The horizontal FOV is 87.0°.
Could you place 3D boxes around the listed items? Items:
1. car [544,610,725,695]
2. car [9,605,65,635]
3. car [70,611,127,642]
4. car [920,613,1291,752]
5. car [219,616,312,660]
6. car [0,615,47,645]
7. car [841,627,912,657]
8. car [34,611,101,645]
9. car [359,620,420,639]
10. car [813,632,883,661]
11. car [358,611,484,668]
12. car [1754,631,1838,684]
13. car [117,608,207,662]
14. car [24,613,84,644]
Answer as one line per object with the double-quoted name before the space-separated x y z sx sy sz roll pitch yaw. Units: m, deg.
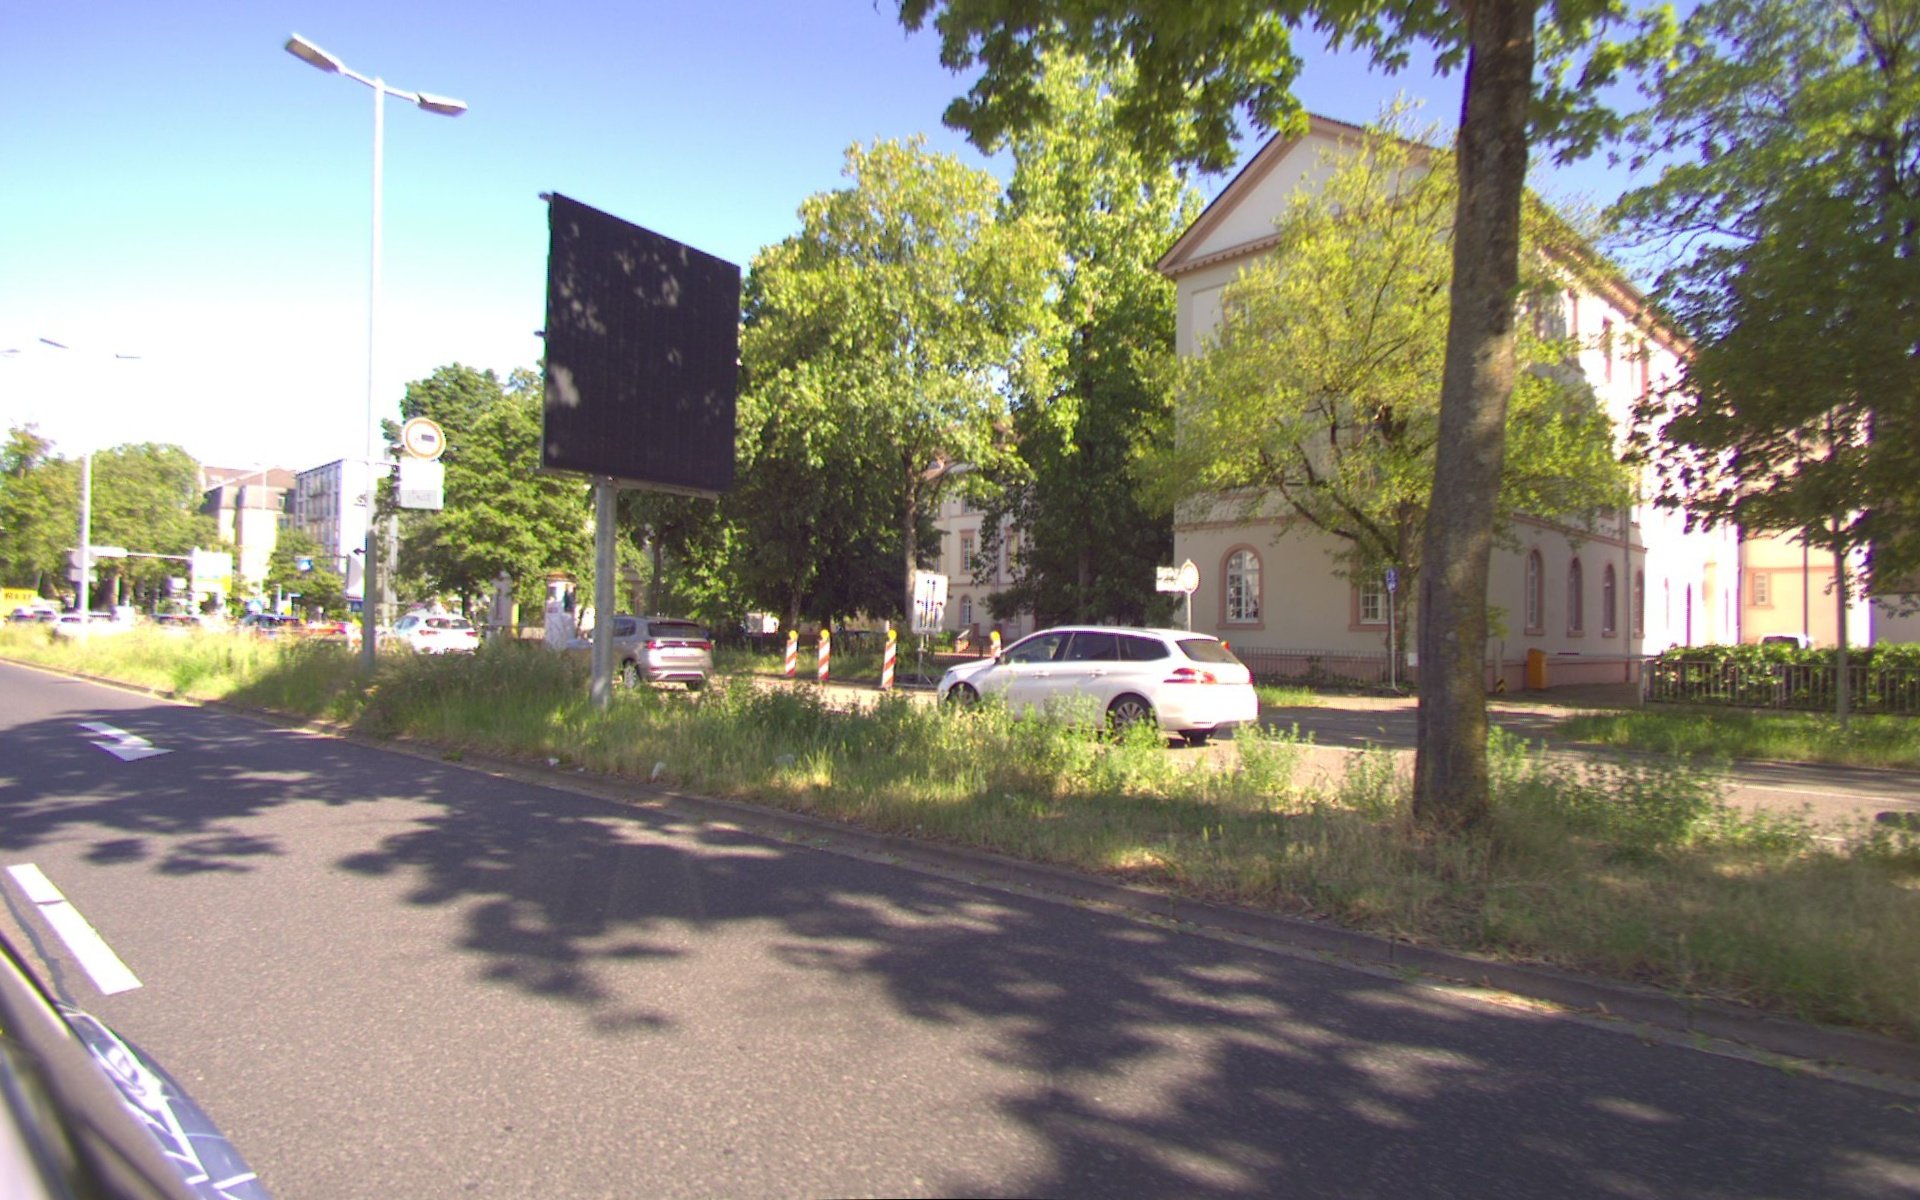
"car" -7.068 1.049 21.792 4.257 1.530 1.777 2 1 41
"car" -63.782 1.358 69.873 5.014 2.043 2.210 0 -1 40
"car" -51.239 1.570 60.179 5.028 1.756 1.777 0 -2 40
"car" 1.780 0.988 13.450 4.665 1.530 1.819 -1 -4 42
"car" -26.483 1.403 38.550 4.441 1.530 1.777 0 -1 40
"car" -52.868 1.670 56.825 4.344 1.530 1.777 0 0 40
"car" -5.296 2.608 63.572 4.684 1.503 1.625 4 2 41
"car" -42.237 1.324 47.878 4.202 1.530 1.777 0 -2 40
"car" -53.478 2.729 94.885 4.637 1.630 1.922 1 2 -40
"car" -5.488 2.246 49.358 1.743 1.333 3.507 2 -2 -39
"car" -15.709 1.112 29.414 4.255 1.530 1.777 0 -2 40
"car" 33.012 2.209 39.919 3.939 1.807 2.003 1 2 -43
"car" -28.408 1.192 35.983 4.322 1.630 1.735 3 2 41
"car" -47.157 1.472 52.646 4.360 1.530 1.777 -1 -1 40
